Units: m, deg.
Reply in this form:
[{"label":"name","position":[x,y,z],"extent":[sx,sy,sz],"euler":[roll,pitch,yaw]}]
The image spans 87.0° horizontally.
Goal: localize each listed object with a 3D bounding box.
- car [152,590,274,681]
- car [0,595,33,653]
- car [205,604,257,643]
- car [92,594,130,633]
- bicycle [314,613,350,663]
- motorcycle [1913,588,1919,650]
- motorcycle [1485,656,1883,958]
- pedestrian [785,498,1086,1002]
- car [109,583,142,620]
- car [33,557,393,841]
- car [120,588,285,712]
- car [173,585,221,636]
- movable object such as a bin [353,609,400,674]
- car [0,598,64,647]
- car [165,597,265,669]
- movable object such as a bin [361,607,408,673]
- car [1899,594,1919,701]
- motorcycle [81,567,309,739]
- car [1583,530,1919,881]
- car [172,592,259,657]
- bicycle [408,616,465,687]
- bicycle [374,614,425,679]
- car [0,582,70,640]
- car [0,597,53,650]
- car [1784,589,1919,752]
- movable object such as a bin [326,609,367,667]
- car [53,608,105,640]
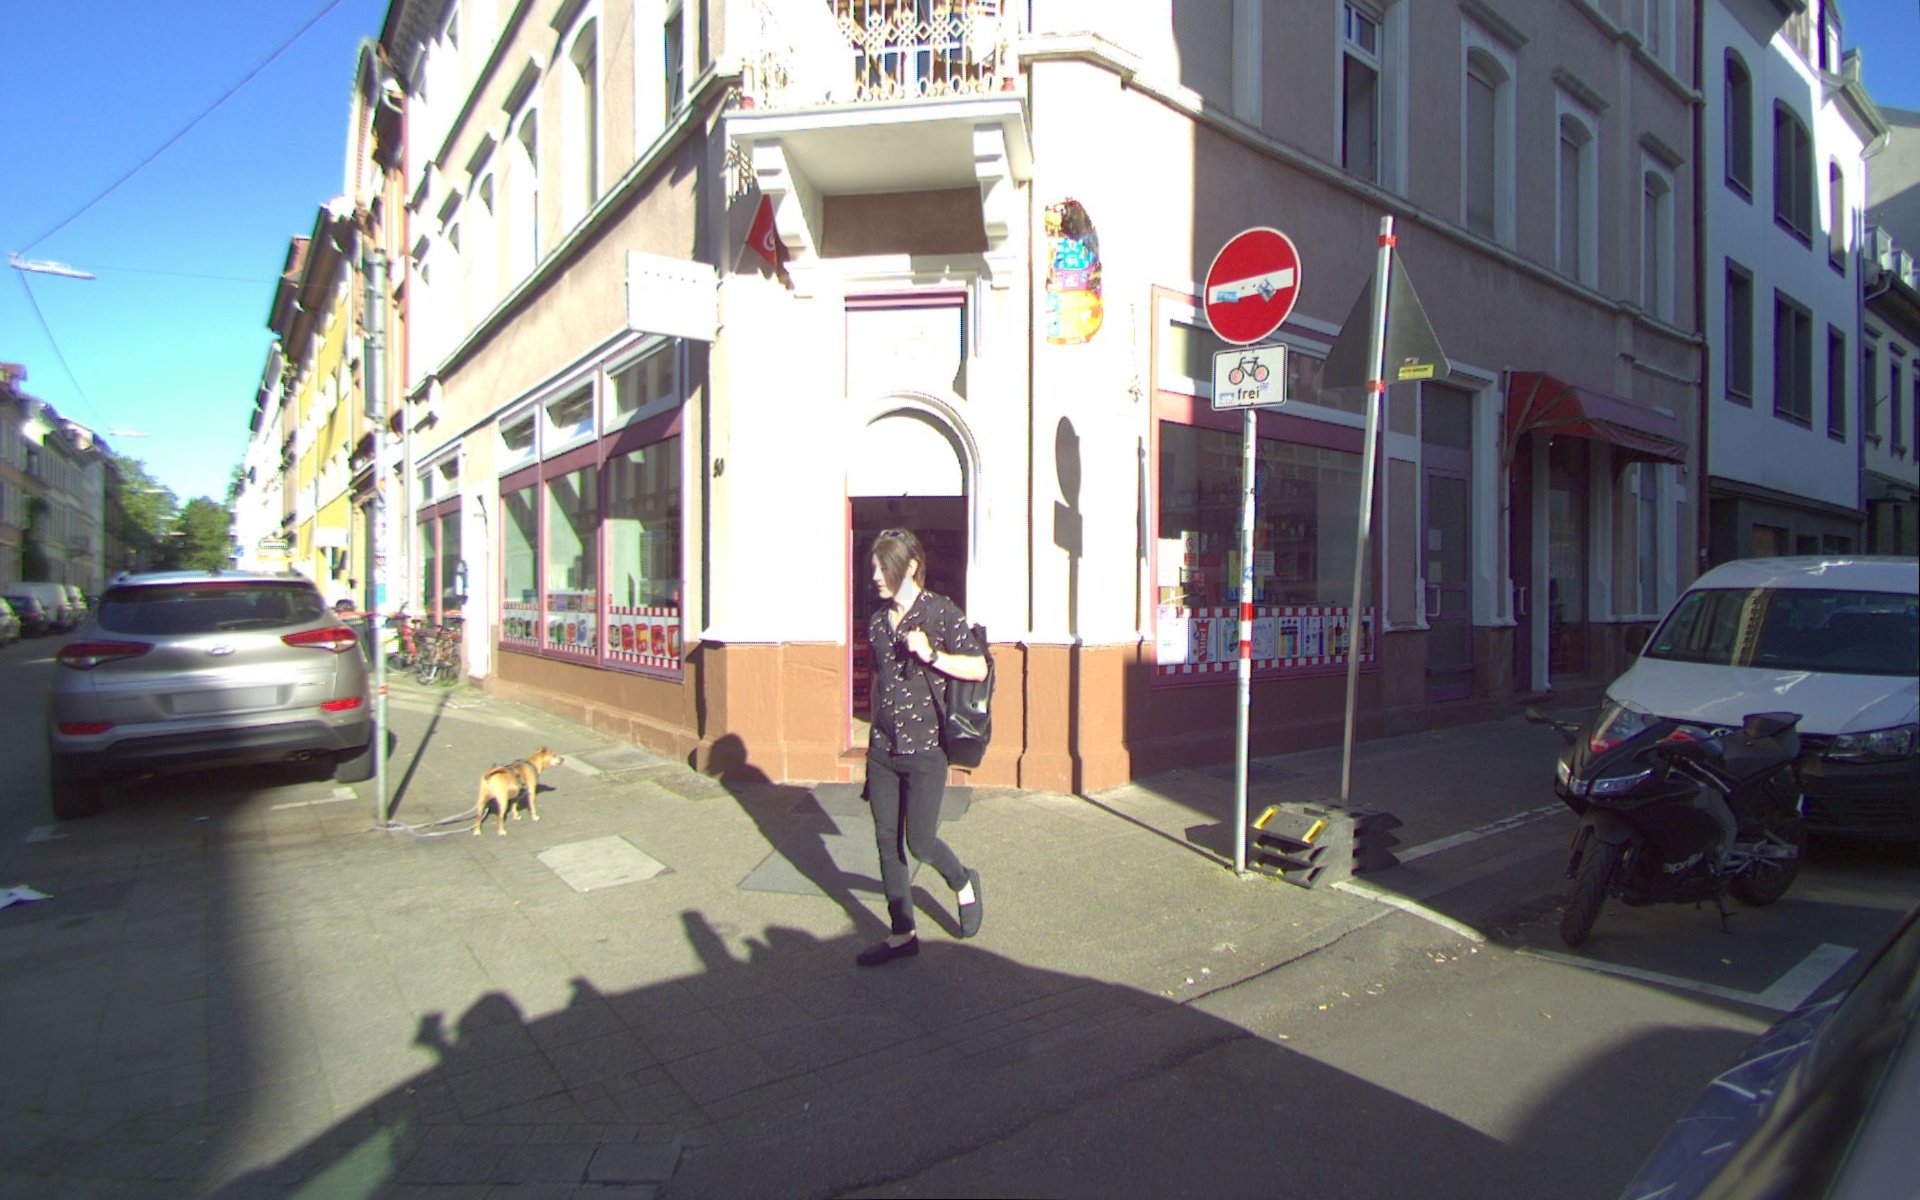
[{"label":"car","position":[-14.832,0.643,20.141],"extent":[1.720,1.531,3.914],"euler":[-4,2,-36]},{"label":"car","position":[-26.883,0.691,27.707],"extent":[1.720,1.531,3.914],"euler":[-4,2,-36]},{"label":"car","position":[-31.823,0.999,44.163],"extent":[1.720,1.531,3.914],"euler":[-4,2,-36]},{"label":"car","position":[-61.305,0.967,73.098],"extent":[1.720,2.607,3.914],"euler":[-4,2,-36]},{"label":"bicycle","position":[-13.405,0.797,21.593],"extent":[0.447,1.022,1.643],"euler":[0,-1,-39]},{"label":"motorcycle","position":[22.953,0.426,23.658],"extent":[2.000,1.414,0.667],"euler":[-1,-1,-38]},{"label":"motorcycle","position":[3.570,0.906,4.968],"extent":[1.955,1.099,0.722],"euler":[-1,4,-27]},{"label":"pedestrian","position":[-0.088,0.514,4.264],"extent":[0.824,1.814,0.977],"euler":[3,3,38]},{"label":"car","position":[-69.957,0.113,84.864],"extent":[1.720,2.951,4.191],"euler":[-4,2,-36]},{"label":"car","position":[-5.960,0.583,8.216],"extent":[1.822,1.652,4.070],"euler":[-3,1,-36]},{"label":"car","position":[-11.446,0.670,15.372],"extent":[1.720,1.531,3.914],"euler":[-4,2,-36]},{"label":"car","position":[-39.779,0.547,52.810],"extent":[1.812,2.461,3.914],"euler":[-4,2,-36]},{"label":"movable object such as a bin","position":[-10.833,0.760,18.801],"extent":[0.668,1.172,0.568],"euler":[-1,-1,-39]},{"label":"car","position":[-33.116,0.786,35.762],"extent":[1.720,1.572,3.914],"euler":[-4,2,-36]},{"label":"car","position":[-17.782,0.735,24.187],"extent":[1.720,1.470,3.914],"euler":[-4,2,-36]},{"label":"movable object such as a bin","position":[-10.318,0.708,18.144],"extent":[0.655,1.131,0.717],"euler":[-1,-1,-36]},{"label":"car","position":[14.634,0.631,14.055],"extent":[3.811,1.413,1.736],"euler":[-1,2,-38]},{"label":"motorcycle","position":[-8.292,0.528,11.137],"extent":[0.835,1.670,2.337],"euler":[-1,-1,-3]},{"label":"car","position":[6.281,0.504,7.202],"extent":[4.290,1.839,1.753],"euler":[-1,2,-38]},{"label":"car","position":[-20.195,0.615,27.488],"extent":[1.720,1.531,3.914],"euler":[-4,2,-36]},{"label":"bicycle","position":[-8.095,0.766,15.623],"extent":[0.447,1.022,1.643],"euler":[0,0,-39]},{"label":"bicycle","position":[-9.368,0.764,16.889],"extent":[0.447,1.022,1.643],"euler":[0,-1,-39]},{"label":"car","position":[-36.618,0.427,39.978],"extent":[1.720,2.078,3.914],"euler":[-4,2,-36]},{"label":"car","position":[-29.823,0.739,31.658],"extent":[1.720,1.531,3.914],"euler":[-4,2,-36]},{"label":"car","position":[10.095,0.631,10.480],"extent":[3.811,1.426,1.613],"euler":[-1,2,-38]},{"label":"movable object such as a bin","position":[-12.548,0.767,20.703],"extent":[0.655,1.147,0.672],"euler":[-1,-1,-36]},{"label":"car","position":[-47.174,1.261,54.257],"extent":[1.720,1.531,3.914],"euler":[-4,2,-36]}]
